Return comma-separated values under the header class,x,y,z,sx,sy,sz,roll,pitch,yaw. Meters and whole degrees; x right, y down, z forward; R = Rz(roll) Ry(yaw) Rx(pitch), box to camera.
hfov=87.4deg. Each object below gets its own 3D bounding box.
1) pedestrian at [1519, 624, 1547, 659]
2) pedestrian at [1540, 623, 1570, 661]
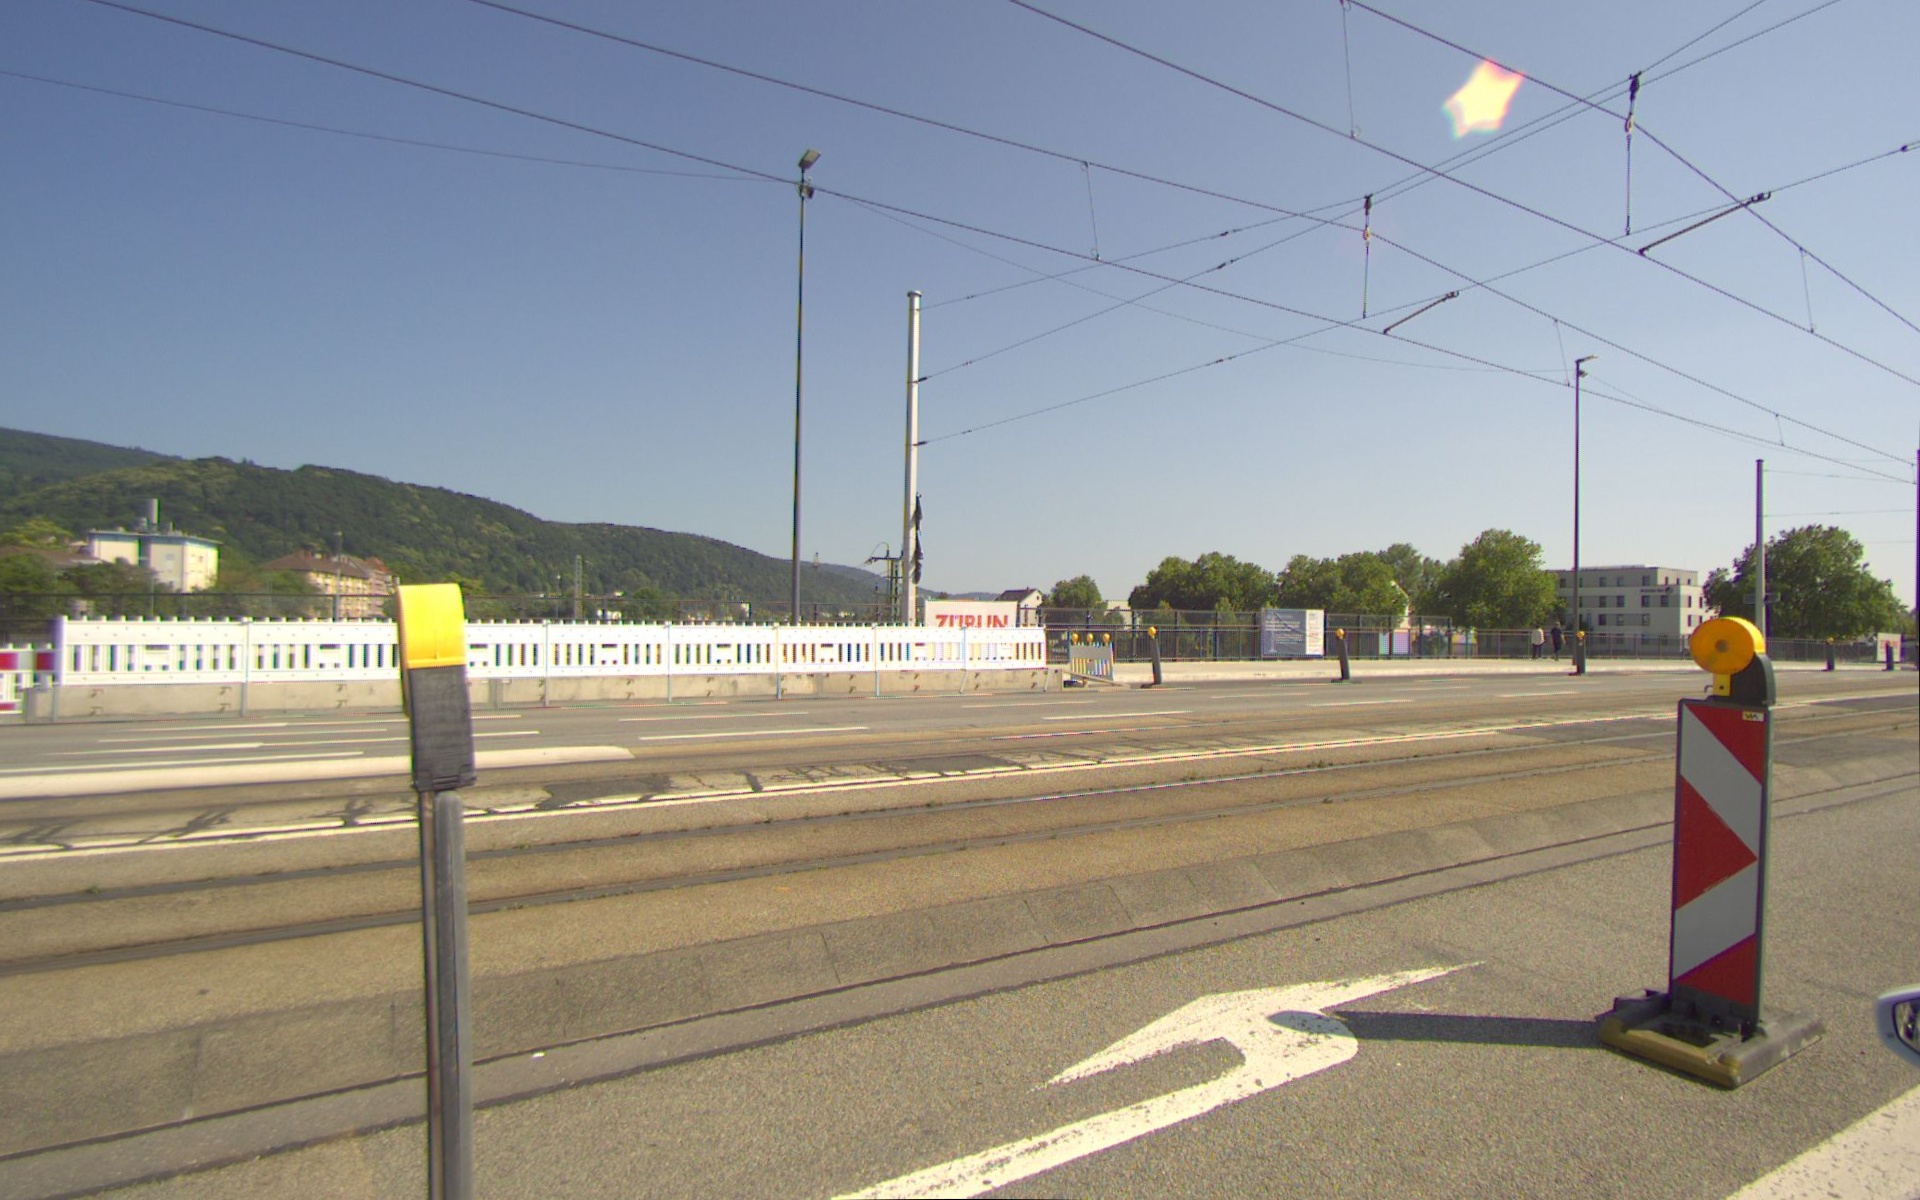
class,x,y,z,sx,sy,sz,roll,pitch,yaw
pedestrian,26.203,1.884,45.953,0.878,1.565,0.716,1,1,-30
pedestrian,26.686,1.872,45.047,0.884,1.663,0.740,1,1,-30
